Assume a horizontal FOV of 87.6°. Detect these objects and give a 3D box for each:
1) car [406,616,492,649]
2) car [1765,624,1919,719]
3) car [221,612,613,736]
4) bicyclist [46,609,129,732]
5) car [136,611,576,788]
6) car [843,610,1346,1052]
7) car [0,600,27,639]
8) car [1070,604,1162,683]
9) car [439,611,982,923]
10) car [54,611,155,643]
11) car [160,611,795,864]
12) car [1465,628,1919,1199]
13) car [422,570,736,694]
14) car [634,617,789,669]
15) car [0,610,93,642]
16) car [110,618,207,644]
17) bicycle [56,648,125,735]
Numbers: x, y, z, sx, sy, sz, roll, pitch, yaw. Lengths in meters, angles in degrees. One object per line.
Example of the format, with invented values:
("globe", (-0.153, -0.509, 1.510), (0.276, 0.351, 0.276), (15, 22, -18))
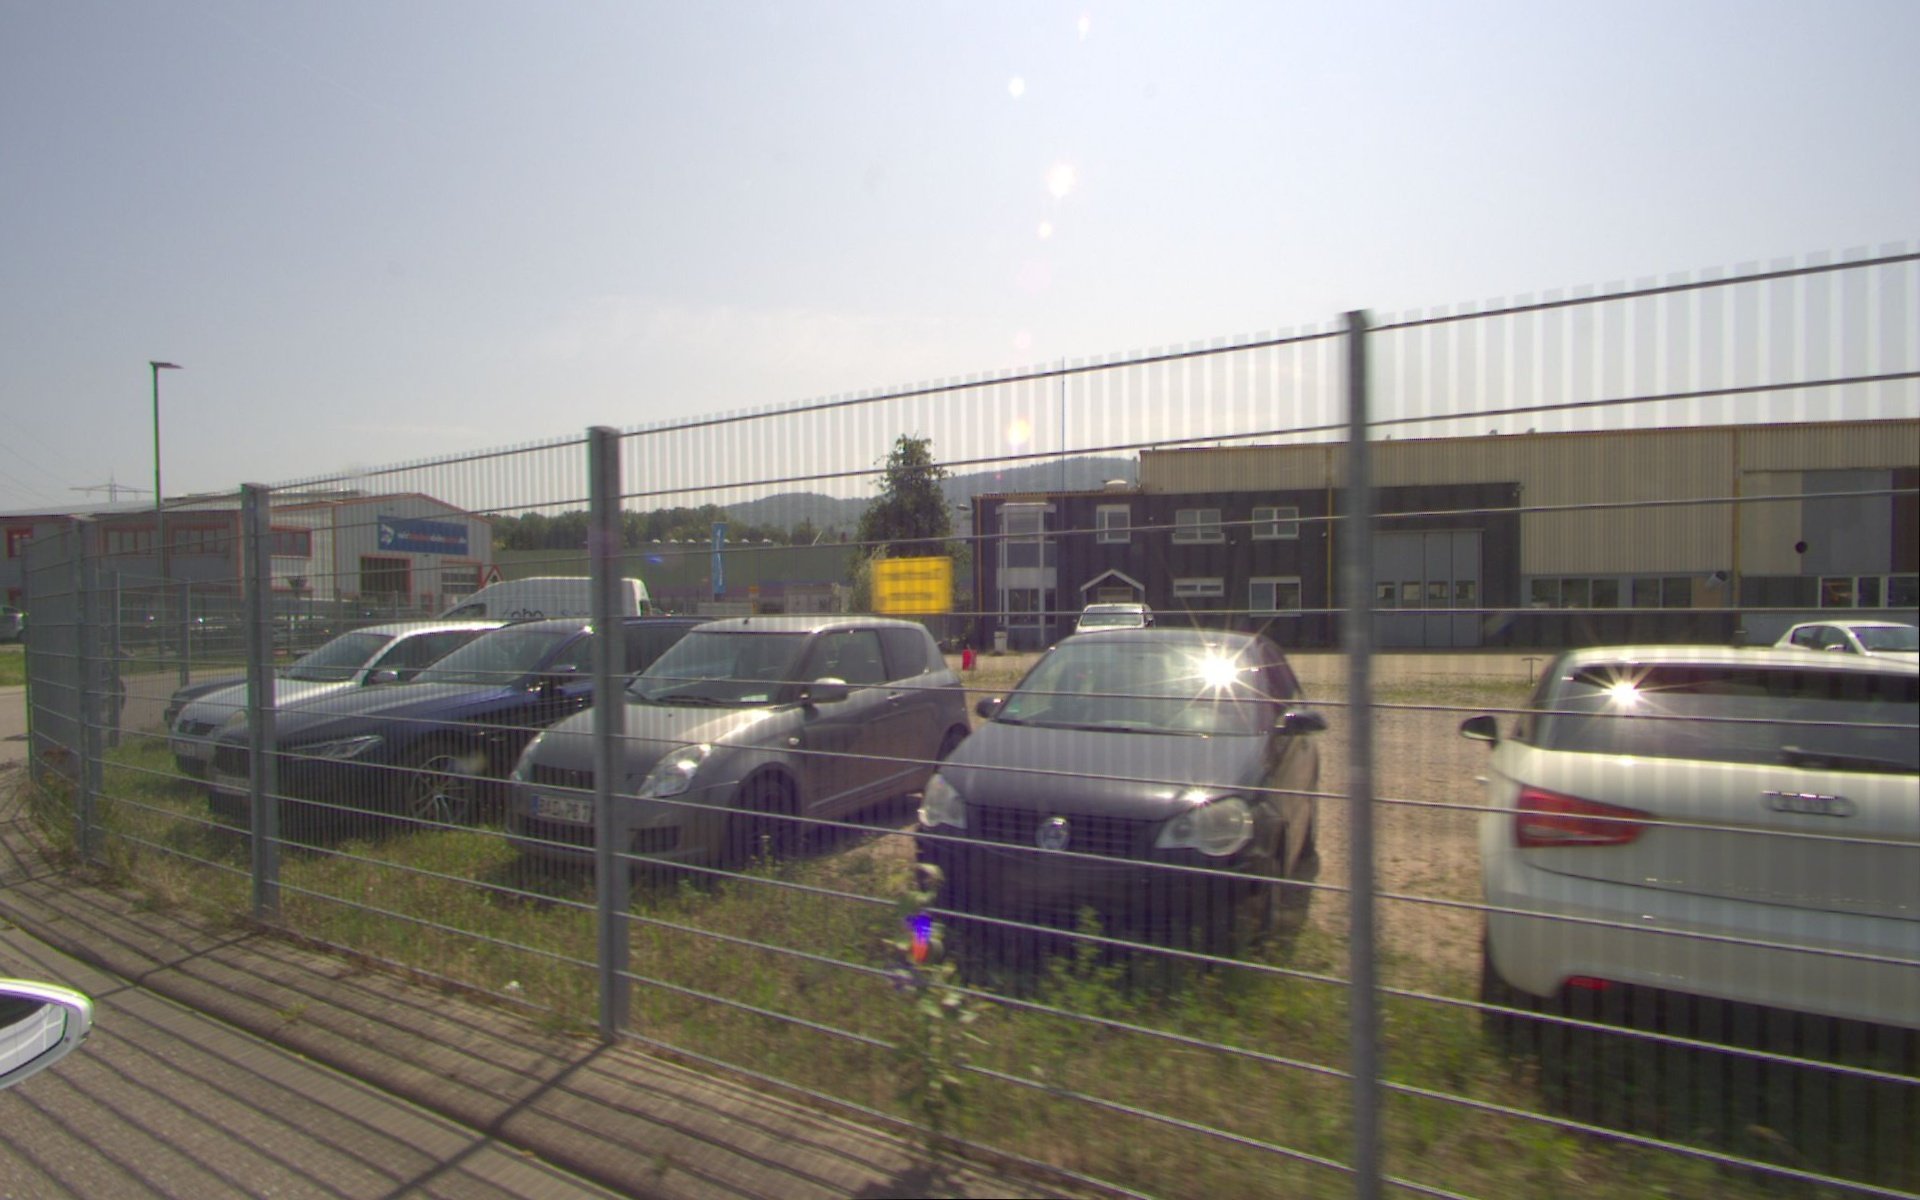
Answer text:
("car", (-23.732, 1.478, 46.658), (1.718, 1.423, 3.601), (0, 0, 11))
("car", (16.075, 1.178, 17.613), (1.507, 1.454, 3.664), (0, 0, 13))
("car", (-6.904, 0.876, 13.192), (4.288, 1.413, 1.611), (0, 0, -24))
("bicyclist", (-12.215, 0.958, 14.029), (0.836, 1.639, 1.030), (1, -1, -42))
("car", (-5.856, 0.839, 10.090), (1.613, 1.441, 3.457), (0, 0, 32))
("car", (1.055, 0.844, 5.421), (1.723, 1.496, 3.650), (-2, -2, 24))
("car", (-50.088, 1.000, 50.659), (1.789, 2.005, 3.904), (0, 0, 11))
("car", (4.328, 1.078, 27.104), (1.824, 1.924, 5.069), (0, 0, 16))
("car", (-1.403, 0.845, 6.877), (1.685, 1.522, 3.536), (0, 0, 28))
("car", (-41.567, 1.288, 48.748), (1.479, 1.435, 3.601), (0, 0, 11))
("car", (-3.566, 0.843, 8.346), (1.799, 1.494, 4.528), (0, 0, 32))
("car", (3.106, 0.865, 4.245), (1.611, 1.407, 3.520), (0, 0, 29))
("car", (-6.975, 0.567, 18.901), (5.242, 2.177, 1.906), (0, 0, -10))
("car", (-6.539, 1.117, 26.766), (3.855, 1.294, 1.906), (0, 0, -9))
("car", (-47.008, 1.305, 51.398), (1.479, 1.564, 3.601), (0, 0, 11))
("car", (-38.894, 1.493, 48.693), (1.479, 1.167, 3.601), (0, 0, 11))
("bicycle", (-12.249, 1.250, 14.098), (0.680, 1.065, 1.883), (1, 0, -42))
